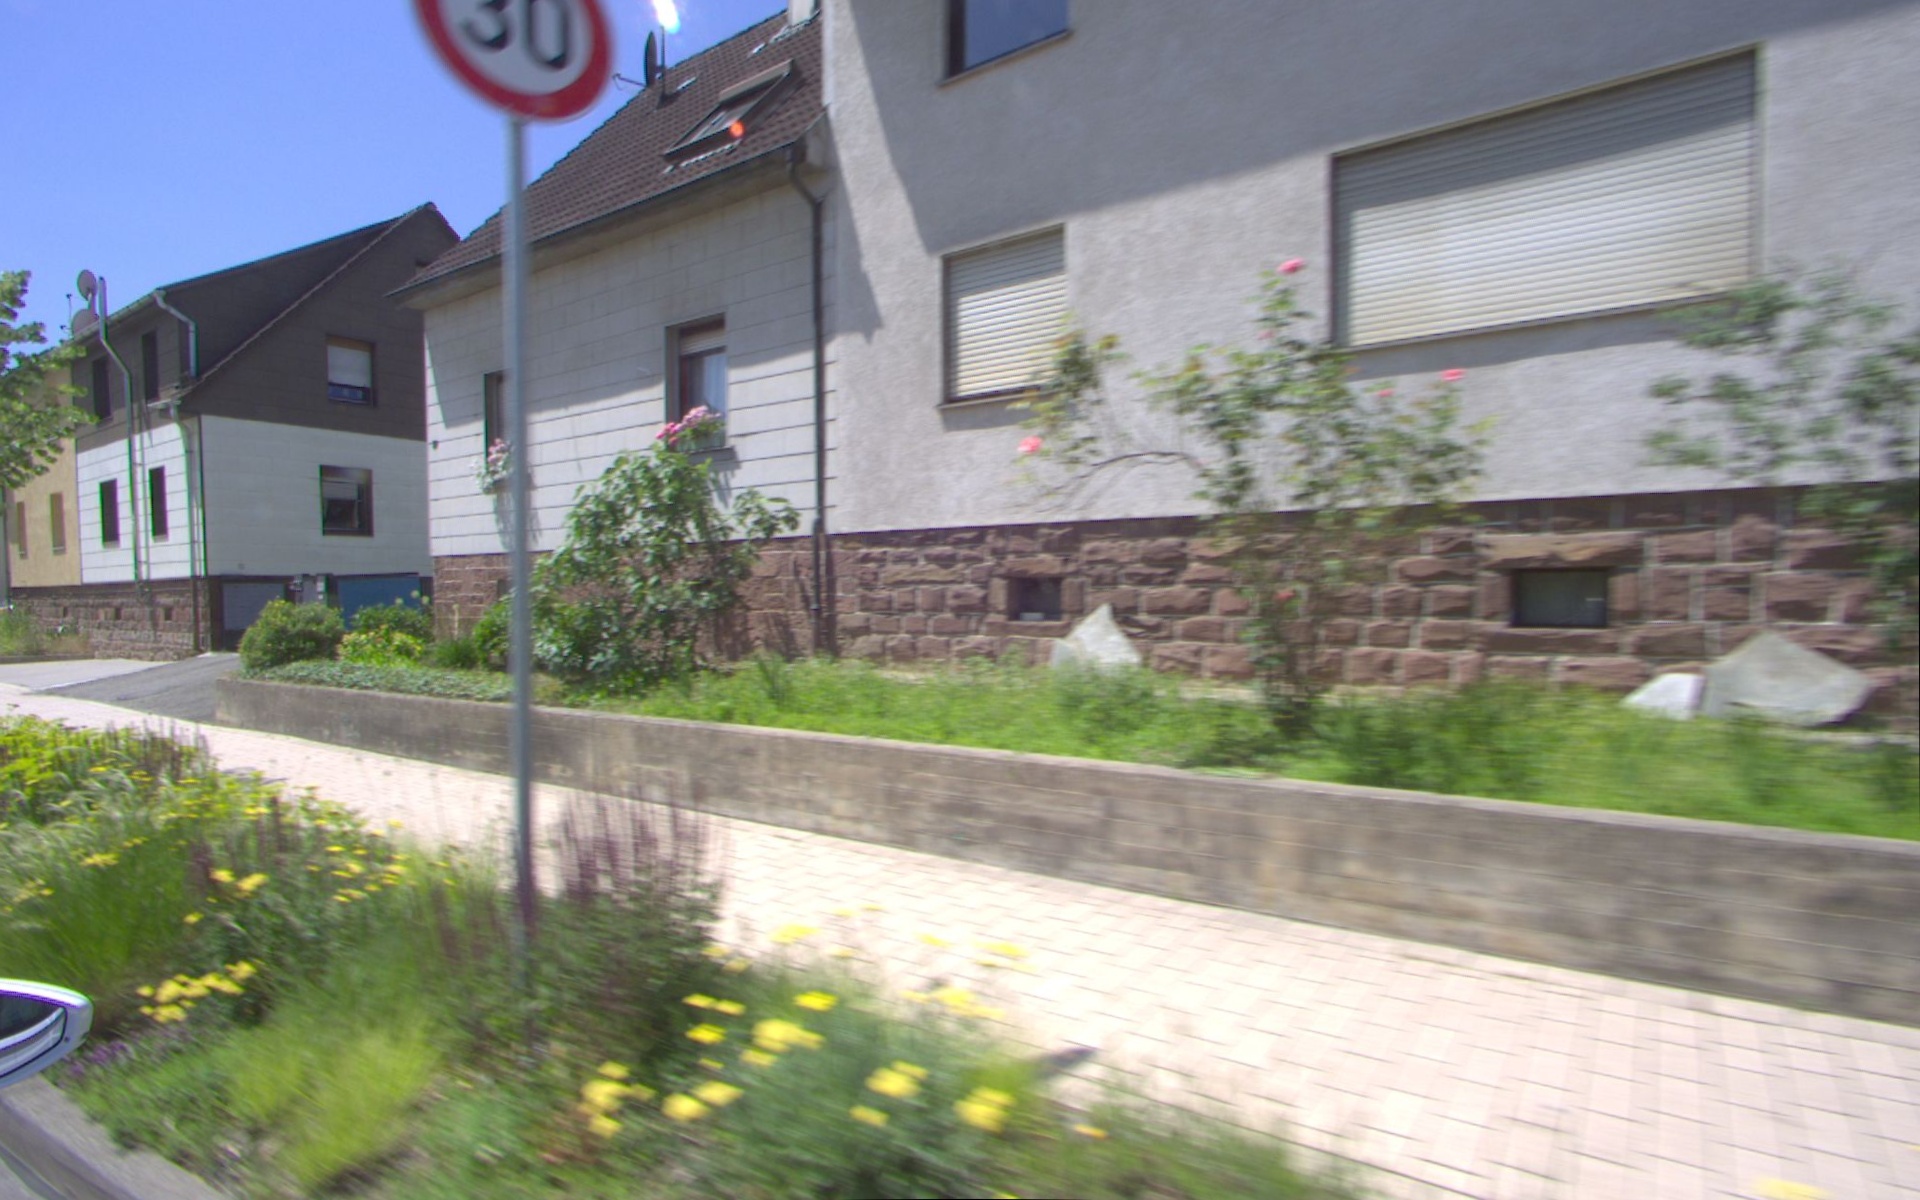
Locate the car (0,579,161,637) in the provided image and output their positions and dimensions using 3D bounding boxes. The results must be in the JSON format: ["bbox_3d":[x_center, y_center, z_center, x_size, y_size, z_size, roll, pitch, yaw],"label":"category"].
[{"bbox_3d":[-29.804,0.230,33.827,1.848,1.700,3.973,0,3,34],"label":"car"}]
